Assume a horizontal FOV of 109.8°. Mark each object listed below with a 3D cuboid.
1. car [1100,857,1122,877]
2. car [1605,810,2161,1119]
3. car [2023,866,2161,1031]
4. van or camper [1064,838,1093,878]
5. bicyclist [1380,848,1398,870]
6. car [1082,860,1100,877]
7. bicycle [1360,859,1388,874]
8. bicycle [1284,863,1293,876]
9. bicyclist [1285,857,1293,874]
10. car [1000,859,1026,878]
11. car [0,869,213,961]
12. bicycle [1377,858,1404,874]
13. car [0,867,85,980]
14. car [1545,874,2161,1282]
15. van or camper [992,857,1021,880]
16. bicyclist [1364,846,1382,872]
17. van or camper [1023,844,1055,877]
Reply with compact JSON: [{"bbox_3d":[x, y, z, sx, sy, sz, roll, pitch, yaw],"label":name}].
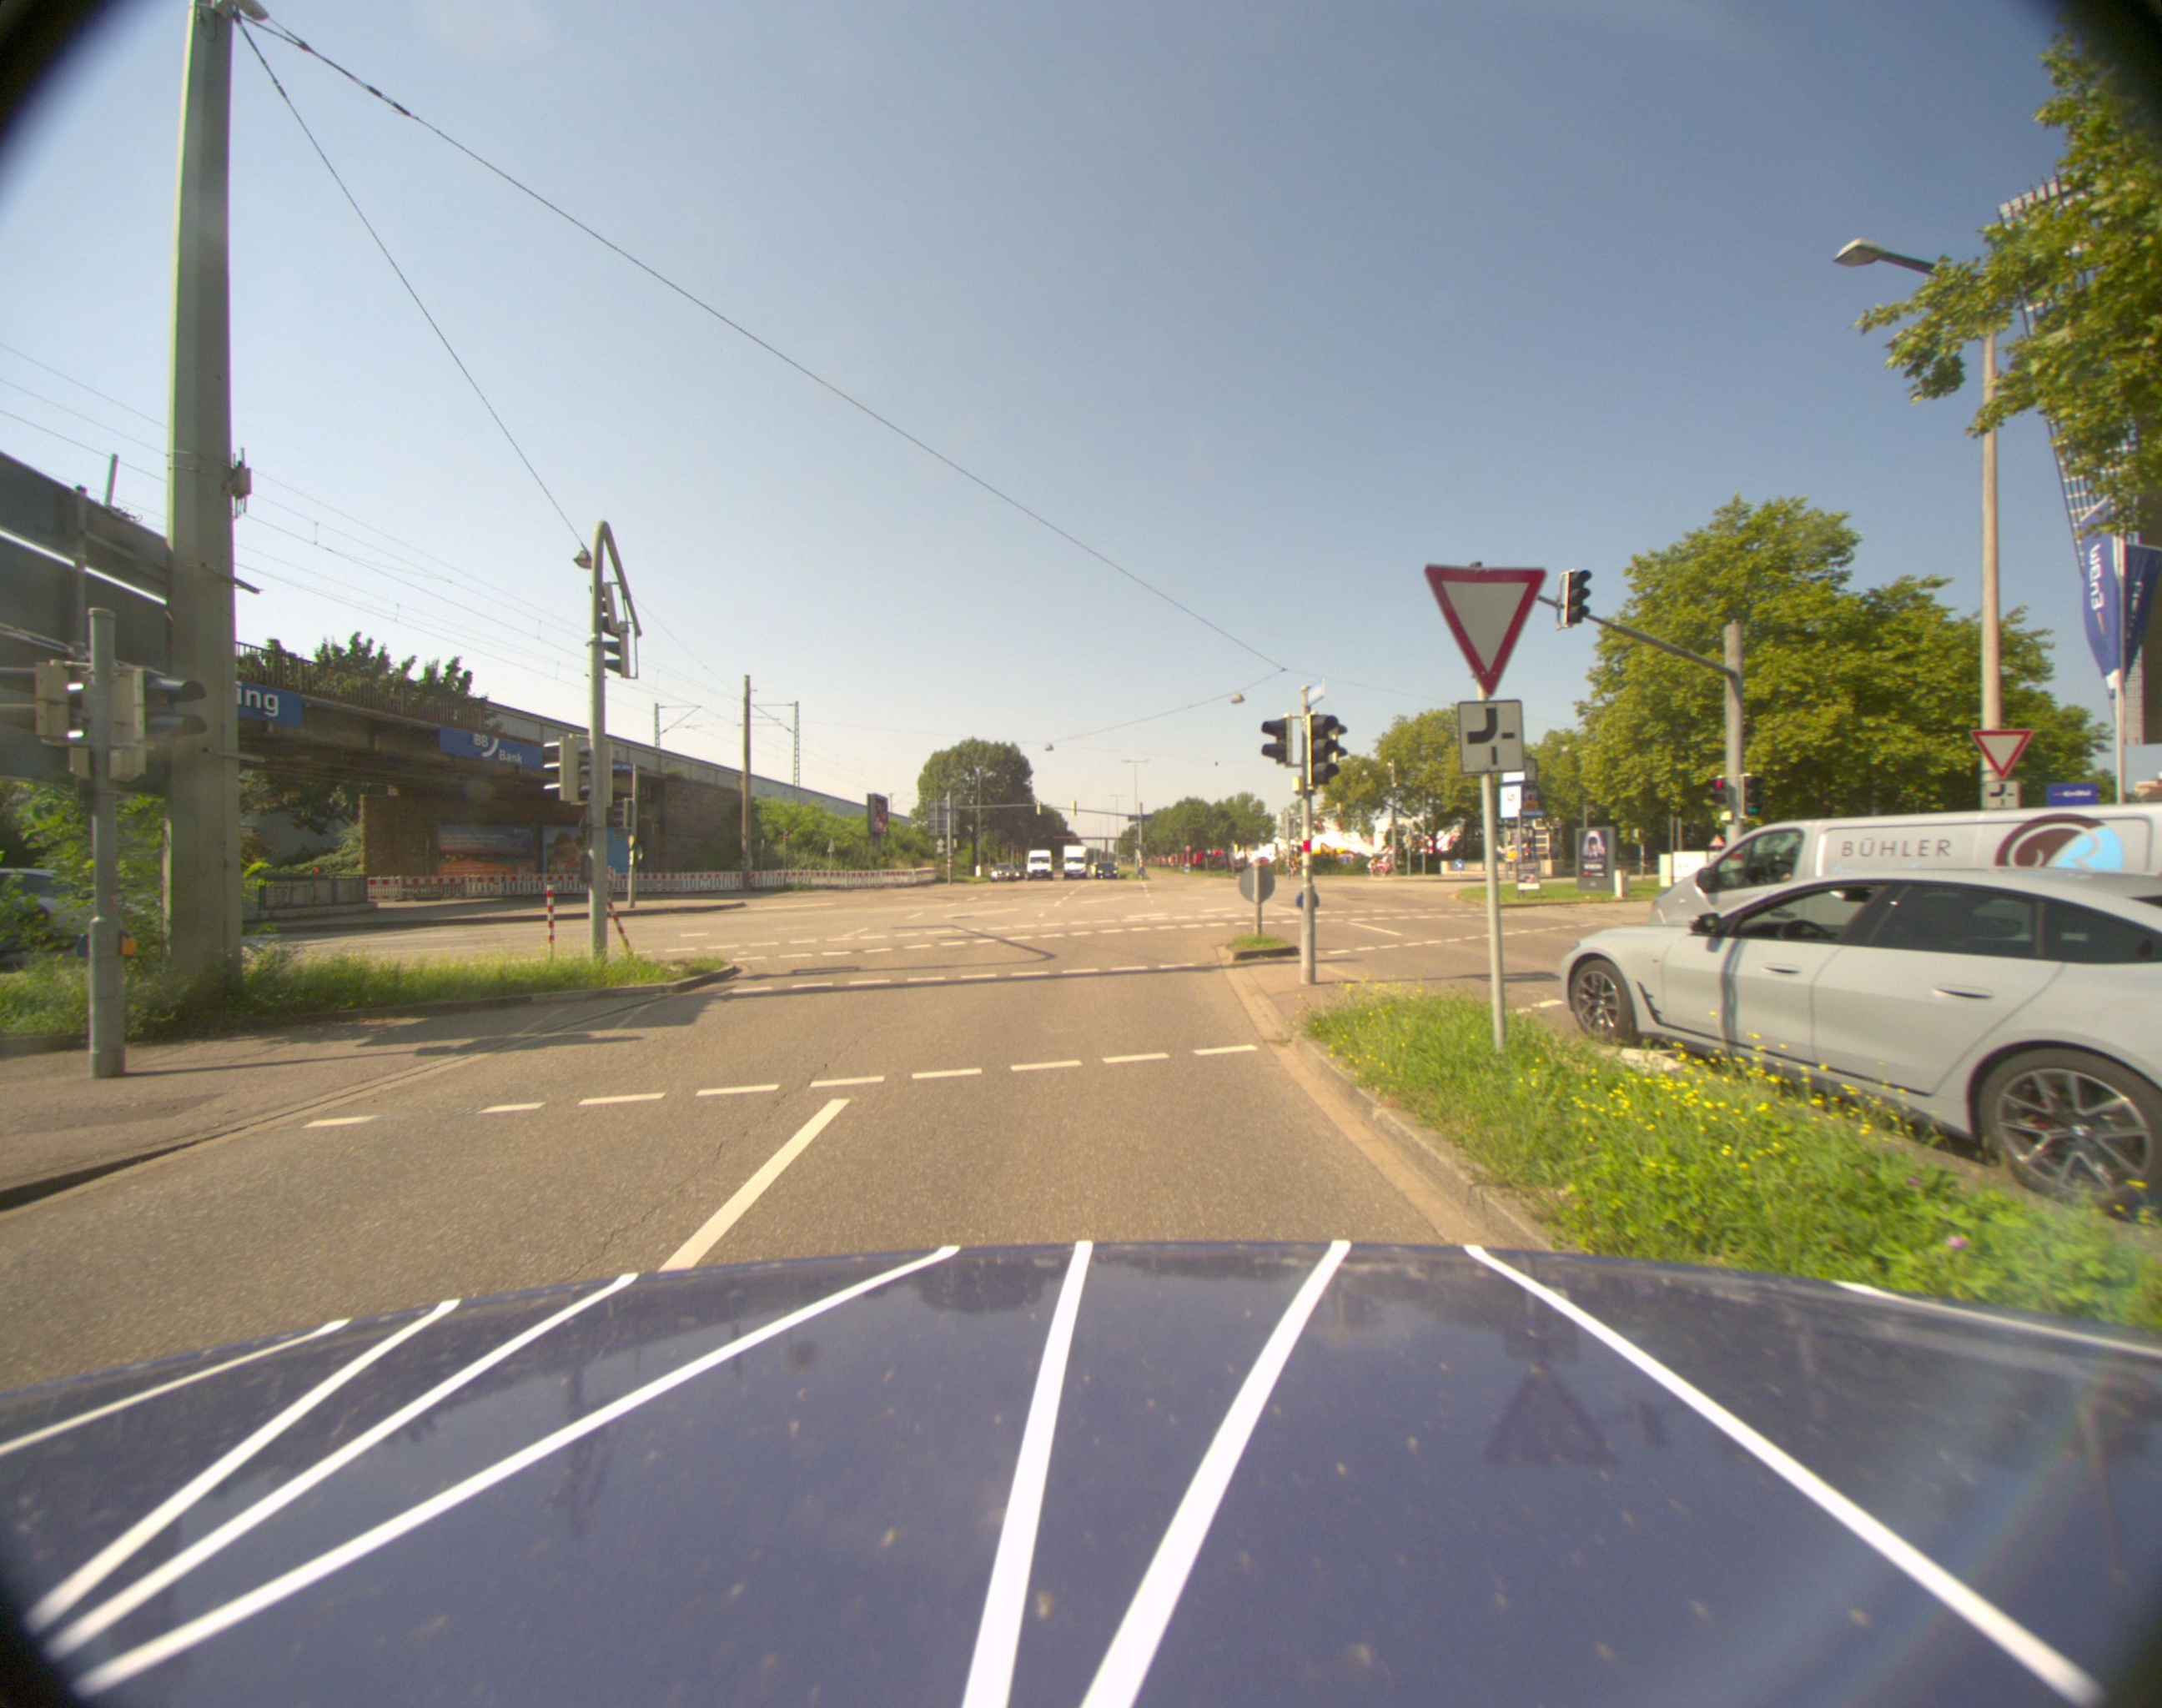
[{"bbox_3d":[2.751,1.249,70.130,1.904,1.603,5.198,-2,-2,2],"label":"car"},{"bbox_3d":[7.716,0.723,7.103,1.932,1.946,5.212,0,-1,-2],"label":"car"},{"bbox_3d":[10.970,0.912,6.304,1.672,1.526,3.730,1,0,1],"label":"car"},{"bbox_3d":[-0.152,0.460,69.388,2.247,3.341,6.854,-2,-2,2],"label":"van or camper"},{"bbox_3d":[22.757,0.372,56.160,0.598,1.584,1.204,-2,-2,-12],"label":"bicyclist"},{"bbox_3d":[1.121,1.611,83.944,1.655,1.654,3.758,-2,-2,5],"label":"car"},{"bbox_3d":[22.841,0.997,59.278,0.773,1.081,2.260,1,-2,-18],"label":"bicycle"},{"bbox_3d":[17.380,1.288,63.554,0.571,1.049,1.496,-3,-2,21],"label":"bicycle"},{"bbox_3d":[17.413,0.956,63.670,0.502,1.356,0.698,-3,-2,22],"label":"bicyclist"},{"bbox_3d":[-6.091,1.274,68.583,1.999,1.543,3.999,-2,0,-2],"label":"car"},{"bbox_3d":[-19.031,1.090,14.022,3.703,1.529,1.722,-1,1,-39],"label":"car"},{"bbox_3d":[22.788,0.910,56.030,0.773,1.080,2.219,-1,-2,-11],"label":"bicycle"},{"bbox_3d":[-18.069,1.053,10.705,4.482,1.608,1.903,-1,1,-33],"label":"car"},{"bbox_3d":[4.965,0.908,4.232,1.840,1.434,4.605,1,0,-1],"label":"car"},{"bbox_3d":[-6.016,1.229,62.074,1.850,1.765,4.176,-2,-2,0],"label":"van or camper"},{"bbox_3d":[22.798,0.400,59.302,0.598,2.001,1.203,-2,-2,-16],"label":"bicyclist"},{"bbox_3d":[-3.535,0.618,65.205,2.248,2.467,6.868,-2,-2,0],"label":"van or camper"}]
